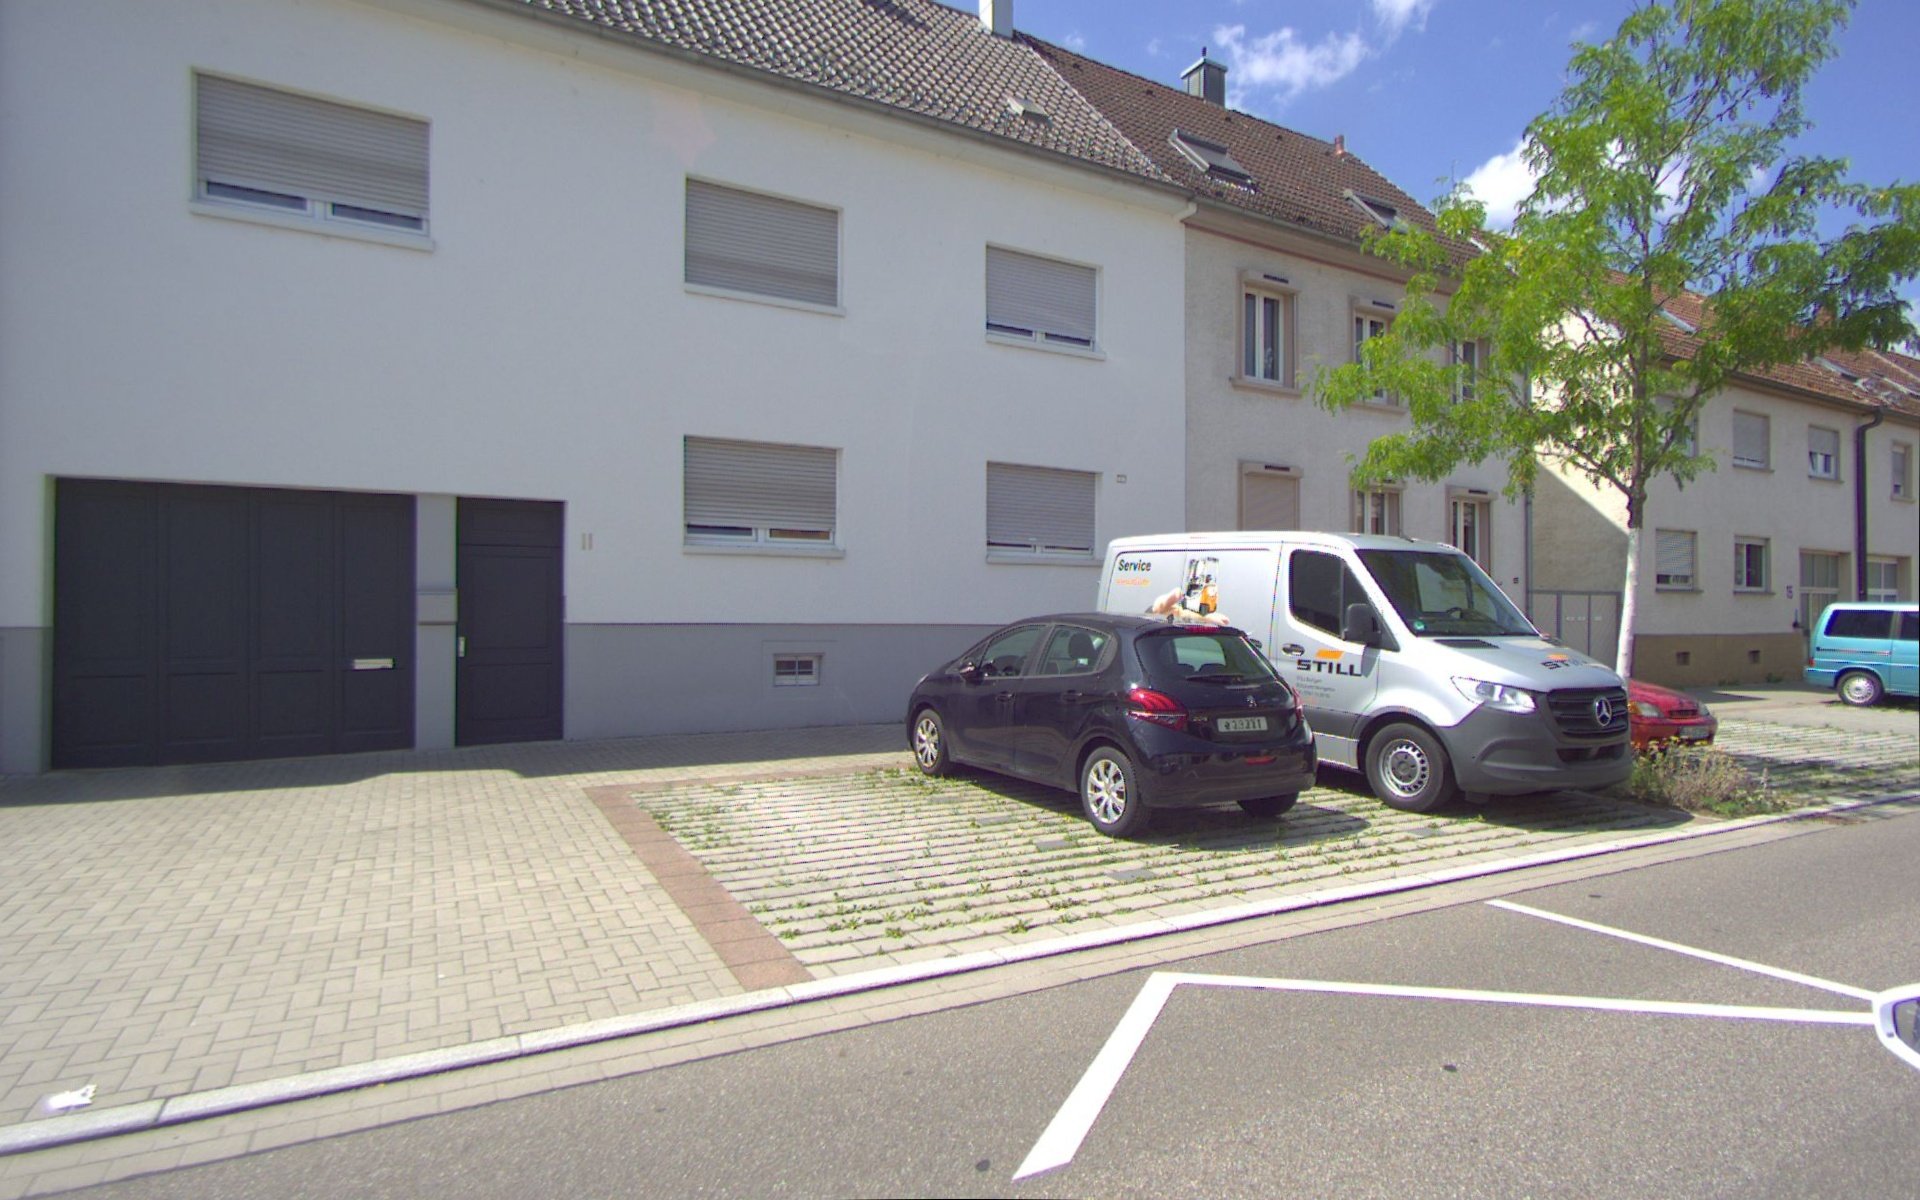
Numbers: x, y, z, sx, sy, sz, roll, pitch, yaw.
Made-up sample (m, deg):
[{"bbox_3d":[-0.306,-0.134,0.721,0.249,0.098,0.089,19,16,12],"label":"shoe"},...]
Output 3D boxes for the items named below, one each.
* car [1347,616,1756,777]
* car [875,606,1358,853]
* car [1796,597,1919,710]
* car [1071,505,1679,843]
[{"bbox_3d":[6.652,0.982,11.736,1.704,1.404,3.768,2,0,-28],"label":"car"},{"bbox_3d":[1.003,0.819,8.343,1.880,1.465,3.967,1,0,-31],"label":"car"},{"bbox_3d":[17.762,0.990,17.371,1.975,1.932,4.658,2,1,-27],"label":"car"},{"bbox_3d":[3.476,0.469,9.660,2.132,2.319,5.141,1,1,-30],"label":"car"}]
